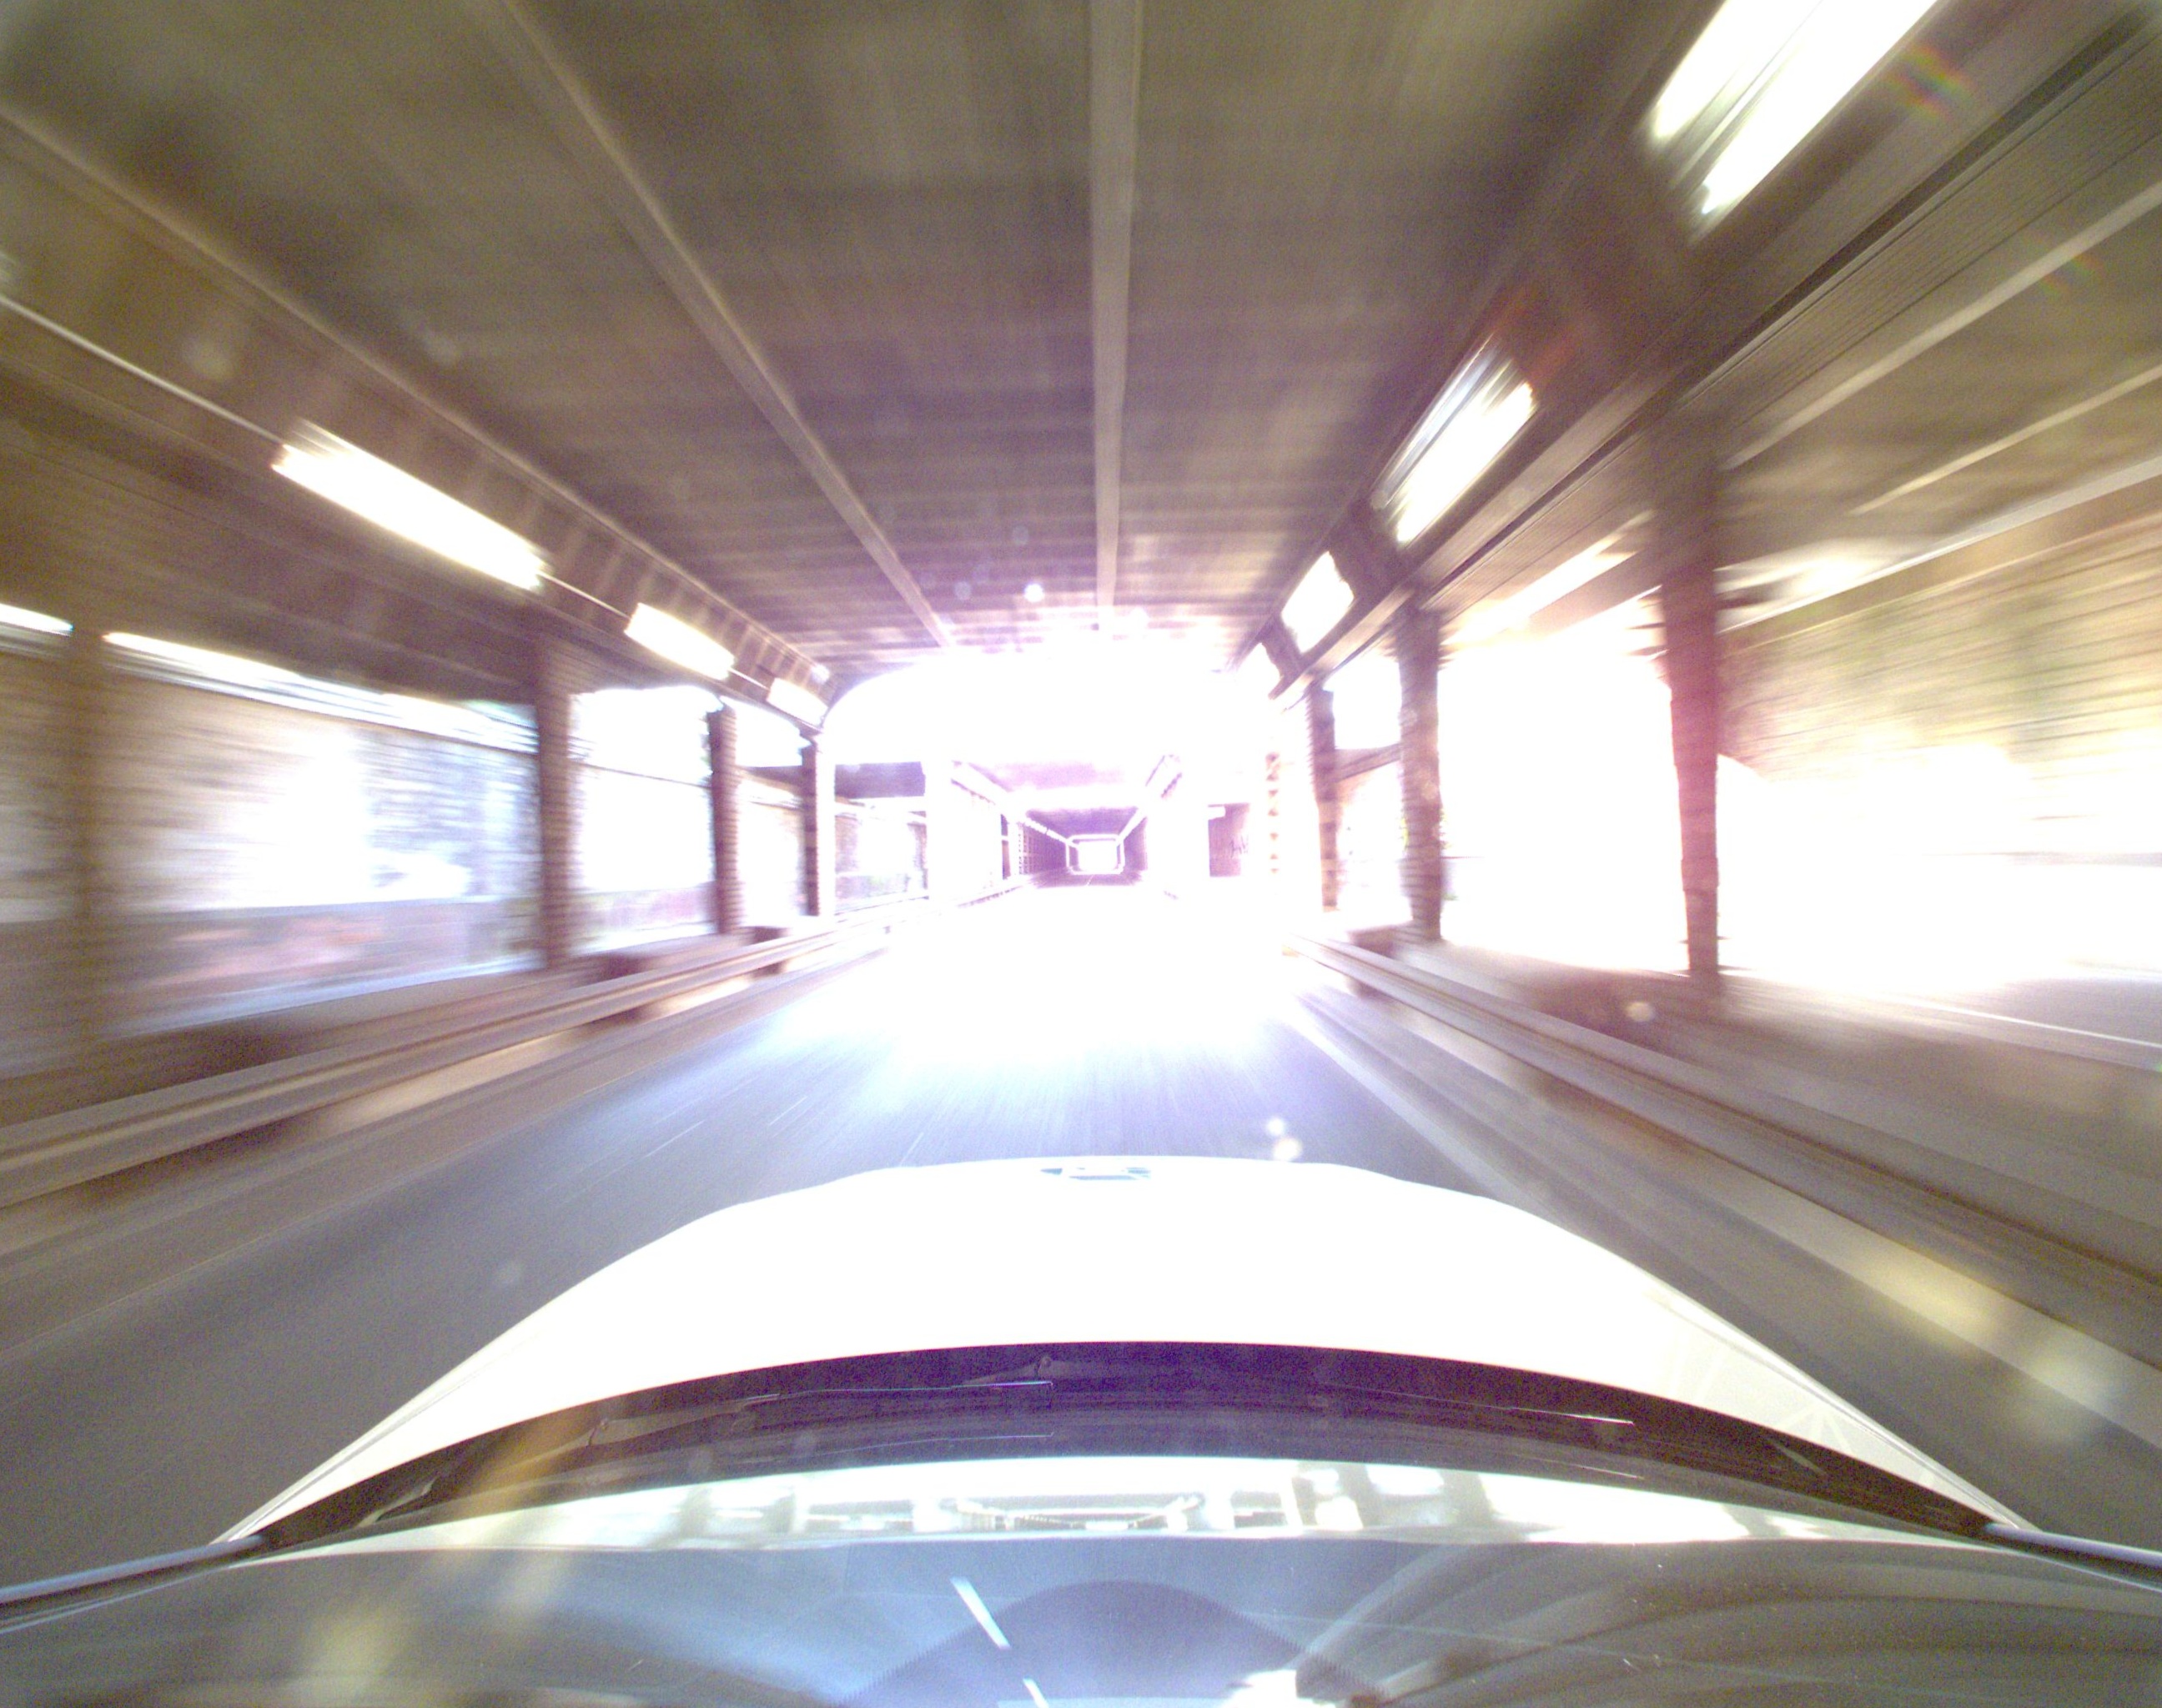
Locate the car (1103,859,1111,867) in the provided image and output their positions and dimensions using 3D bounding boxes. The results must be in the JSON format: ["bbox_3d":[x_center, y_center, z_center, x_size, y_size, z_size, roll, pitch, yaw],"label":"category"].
[{"bbox_3d":[6.152,2.194,192.542,1.986,1.784,4.001,-2,-1,1],"label":"car"}]

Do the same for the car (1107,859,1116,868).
[{"bbox_3d":[6.798,2.163,183.242,1.986,1.784,4.001,-2,-1,1],"label":"car"}]

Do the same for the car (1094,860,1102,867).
[{"bbox_3d":[4.142,2.356,199.285,1.986,1.784,4.001,-2,-1,1],"label":"car"}]
